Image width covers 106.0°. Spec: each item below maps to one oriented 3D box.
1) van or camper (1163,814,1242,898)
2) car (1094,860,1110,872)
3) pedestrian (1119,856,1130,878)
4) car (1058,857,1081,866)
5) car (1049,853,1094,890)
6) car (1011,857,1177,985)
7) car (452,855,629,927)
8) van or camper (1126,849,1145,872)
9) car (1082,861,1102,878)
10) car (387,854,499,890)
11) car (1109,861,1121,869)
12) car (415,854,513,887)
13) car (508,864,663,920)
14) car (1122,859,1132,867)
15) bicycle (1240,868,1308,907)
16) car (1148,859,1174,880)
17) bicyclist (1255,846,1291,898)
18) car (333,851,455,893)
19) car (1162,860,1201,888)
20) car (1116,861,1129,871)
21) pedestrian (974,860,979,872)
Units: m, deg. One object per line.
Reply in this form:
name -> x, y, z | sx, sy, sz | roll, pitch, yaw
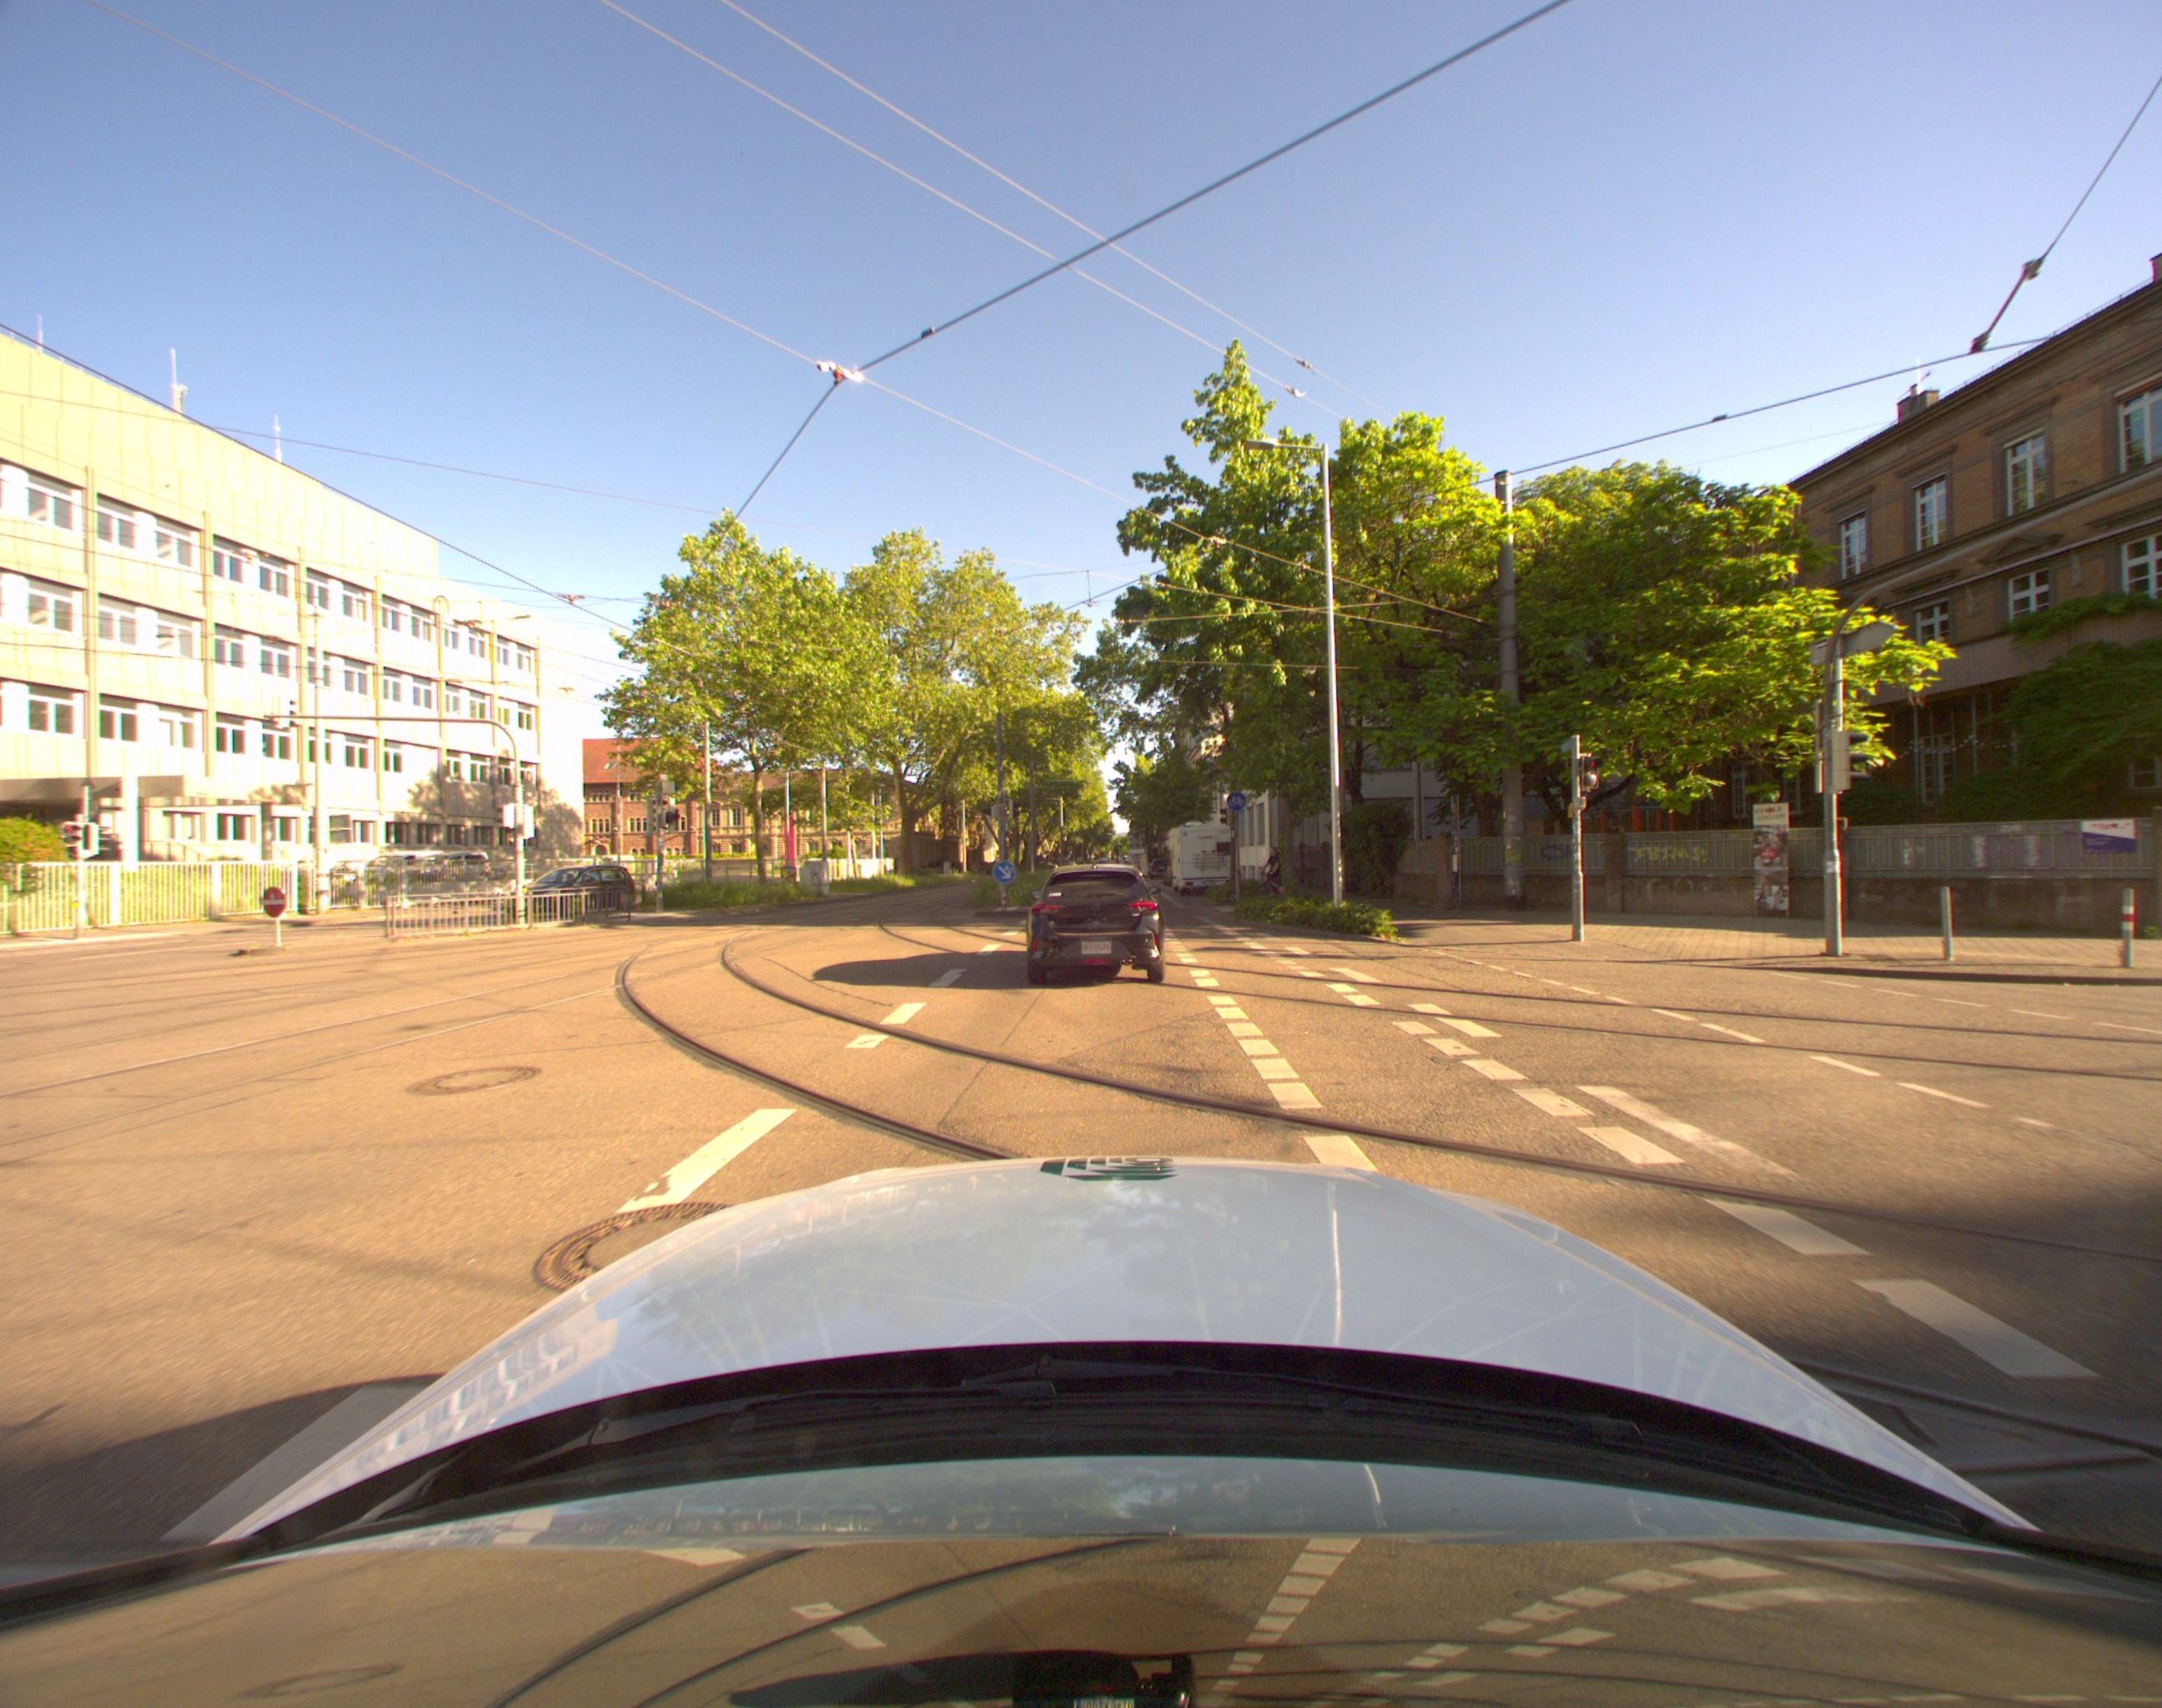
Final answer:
van or camper -> 5.116, 0.107, 35.561 | 2.367, 3.125, 7.554 | -4, 0, 2
car -> 2.751, 1.587, 105.207 | 1.896, 1.425, 4.220 | -1, 0, 4
pedestrian -> 4.095, 1.245, 76.722 | 1.032, 2.024, 1.213 | -1, -1, 2
car -> -2.877, 1.962, 205.357 | 5.664, 2.198, 2.290 | -1, -1, 2
car -> -0.400, 0.816, 39.795 | 1.986, 1.627, 4.472 | 1, 0, 2
car -> 0.288, 0.786, 11.487 | 1.896, 1.425, 4.220 | -1, 0, 4
car -> -16.289, 1.037, 24.886 | 1.982, 1.947, 4.436 | -1, 0, 9
van or camper -> 7.287, 0.839, 108.892 | 2.475, 2.994, 5.439 | 1, 0, 4
car -> 1.116, 1.540, 82.449 | 1.783, 1.510, 3.877 | -3, 0, 3
car -> -32.921, 0.897, 42.180 | 1.982, 1.703, 4.387 | -2, 0, 7
car -> 6.041, 1.959, 143.718 | 1.896, 1.425, 4.220 | -1, 0, 4
car -> -40.158, 1.061, 53.105 | 4.730, 2.013, 1.997 | -2, 0, -4
car -> -16.428, 1.200, 27.365 | 1.984, 1.616, 4.761 | -2, 0, 5
car -> 8.844, 1.632, 155.439 | 1.896, 1.425, 4.220 | -1, 0, 4
bicycle -> 5.731, 0.977, 24.224 | 1.952, 1.070, 0.637 | -1, -1, -22
car -> 6.124, 1.152, 62.512 | 1.783, 1.510, 3.877 | -3, 0, 3
bicyclist -> 5.715, 0.527, 24.242 | 0.702, 1.510, 0.746 | -1, -1, -22
car -> -35.827, 0.906, 42.667 | 1.982, 2.013, 4.735 | -2, 0, 7
car -> 5.565, 1.082, 45.406 | 1.680, 1.420, 4.048 | -2, 0, 1
car -> 6.277, 1.762, 123.452 | 1.896, 1.425, 4.220 | -1, 0, 4
pedestrian -> -14.955, 1.675, 116.331 | 0.616, 1.733, 0.596 | 1, -1, 2
